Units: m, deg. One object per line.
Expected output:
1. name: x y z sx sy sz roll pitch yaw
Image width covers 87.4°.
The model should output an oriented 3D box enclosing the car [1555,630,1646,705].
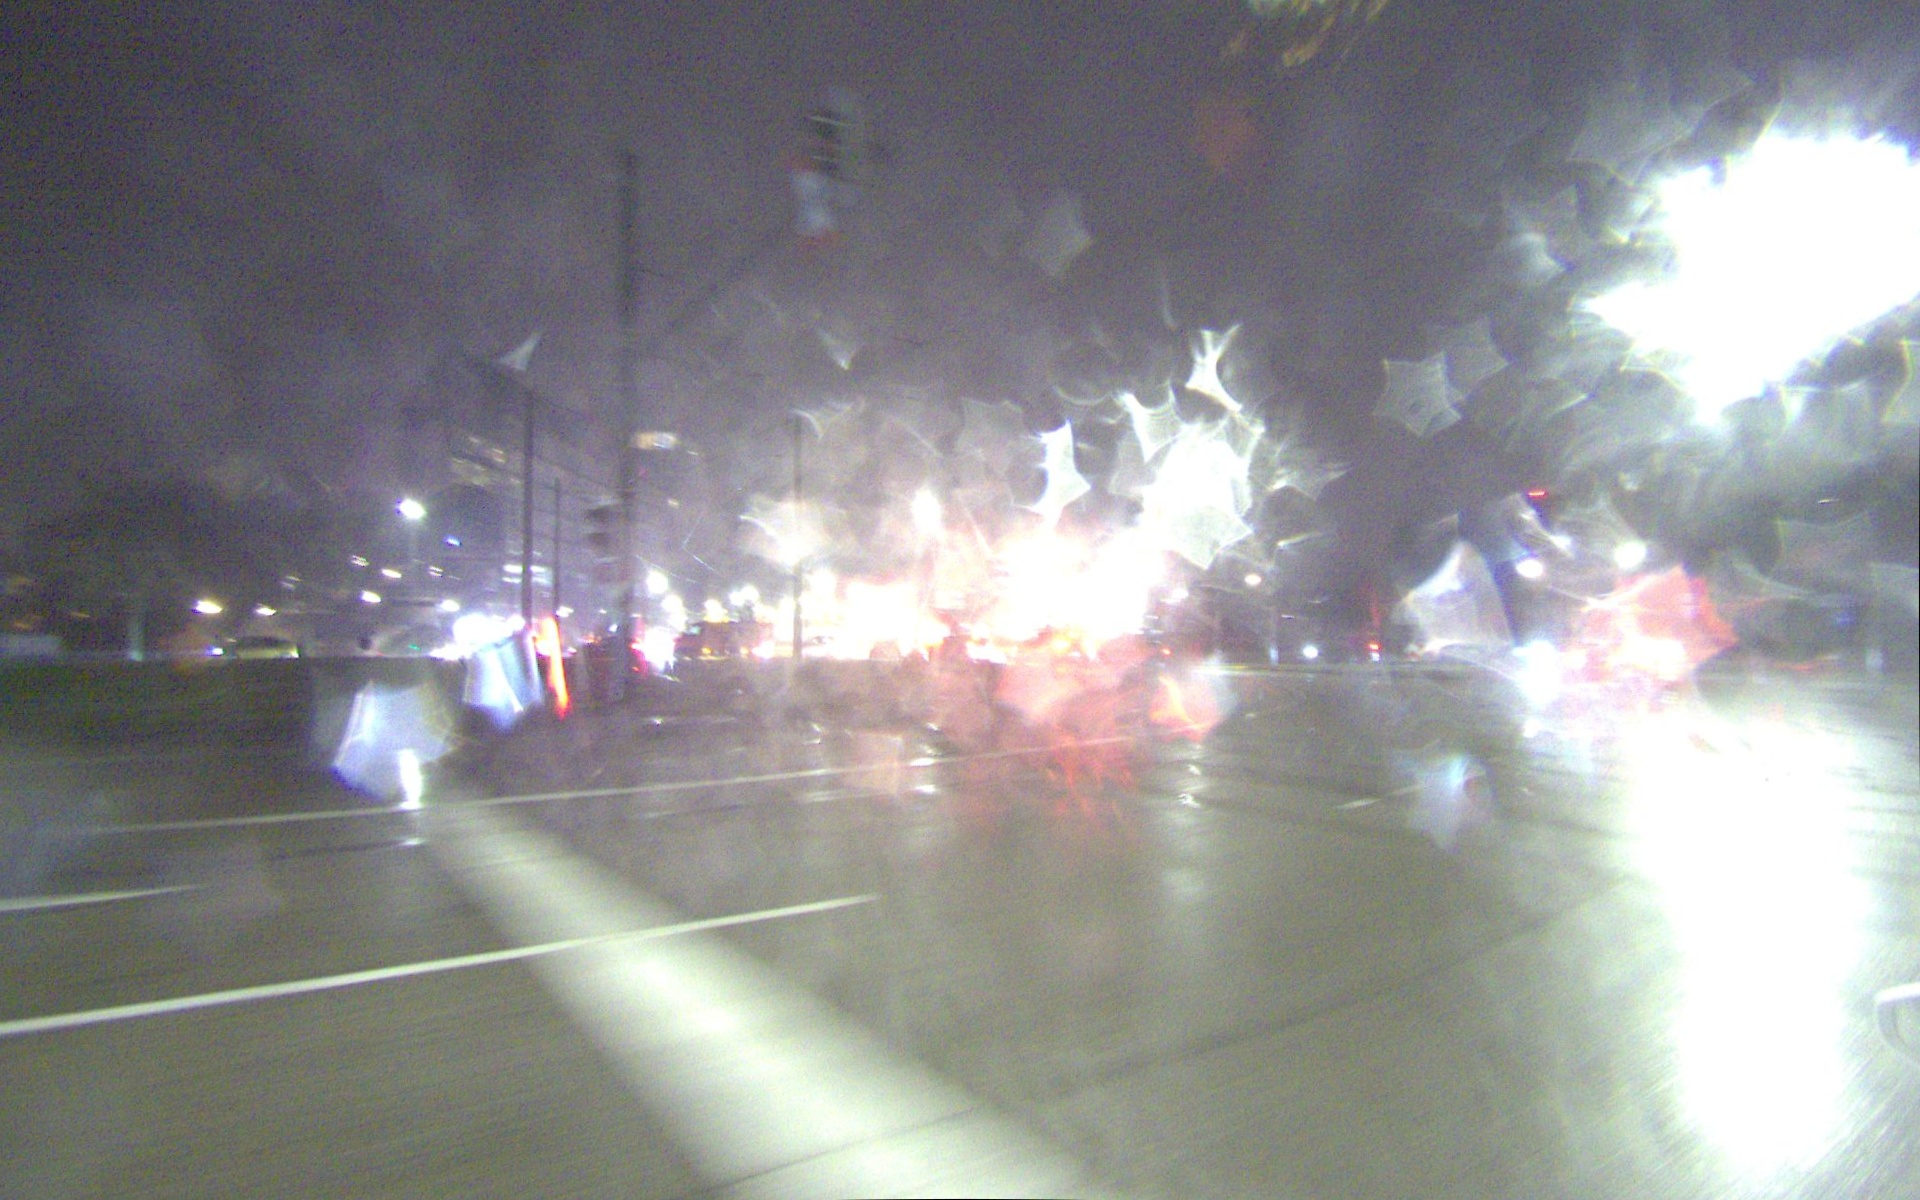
1. car: 19.288 1.944 30.430 1.964 2.040 4.551 1 -1 28

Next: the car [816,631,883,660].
1. car: -6.434 2.626 58.573 3.565 1.599 1.733 0 -1 31

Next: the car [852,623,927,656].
1. car: -3.709 2.039 52.424 3.908 1.599 1.727 0 -1 43

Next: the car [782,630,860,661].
1. car: -7.757 2.510 55.990 3.926 1.637 1.835 1 -1 27

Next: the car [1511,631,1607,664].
1. car: 34.646 2.750 58.113 4.536 1.759 1.997 1 -1 -9

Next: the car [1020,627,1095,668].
1. car: 4.100 2.001 42.794 1.710 1.599 3.948 1 -1 -19

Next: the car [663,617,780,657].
1. car: -13.914 2.130 58.635 6.187 2.117 2.516 1 -1 17

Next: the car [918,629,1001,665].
1. car: -0.054 2.240 48.906 1.864 1.599 3.913 2 -1 -44

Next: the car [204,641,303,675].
1. car: -36.862 2.995 52.473 1.743 1.639 3.862 0 -1 34

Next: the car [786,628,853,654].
1. car: -8.744 2.532 62.356 3.932 1.506 1.764 0 -1 33

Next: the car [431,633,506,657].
1. car: -31.276 2.840 63.967 3.984 1.463 1.812 2 -1 -39

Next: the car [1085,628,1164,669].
1. car: 7.067 2.065 43.384 1.712 1.599 3.609 1 -1 -23

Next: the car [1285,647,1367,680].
1. car: 20.135 3.478 55.323 3.816 1.661 1.863 1 -1 -3

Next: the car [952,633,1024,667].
1. car: 1.399 2.546 51.538 1.724 1.599 3.585 2 -1 -41
